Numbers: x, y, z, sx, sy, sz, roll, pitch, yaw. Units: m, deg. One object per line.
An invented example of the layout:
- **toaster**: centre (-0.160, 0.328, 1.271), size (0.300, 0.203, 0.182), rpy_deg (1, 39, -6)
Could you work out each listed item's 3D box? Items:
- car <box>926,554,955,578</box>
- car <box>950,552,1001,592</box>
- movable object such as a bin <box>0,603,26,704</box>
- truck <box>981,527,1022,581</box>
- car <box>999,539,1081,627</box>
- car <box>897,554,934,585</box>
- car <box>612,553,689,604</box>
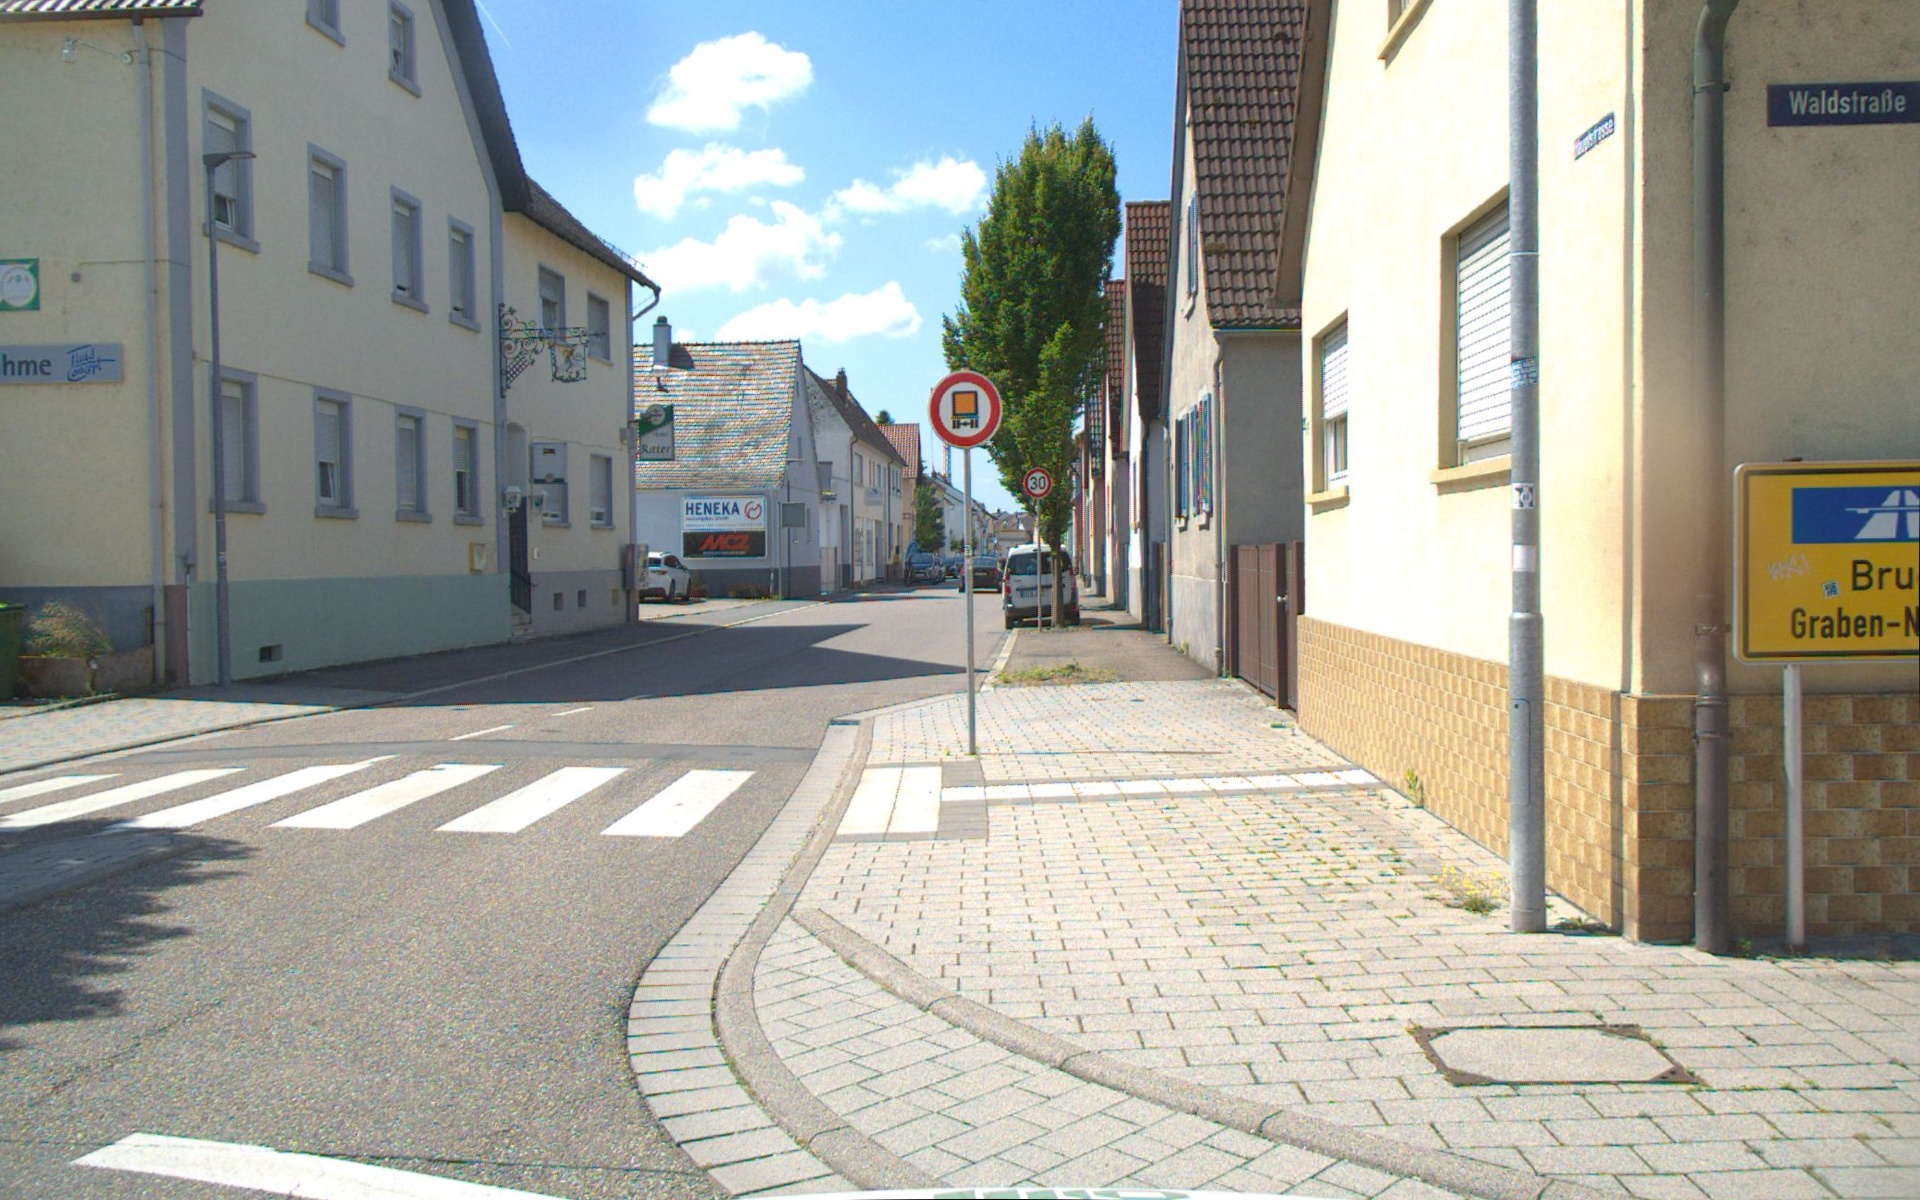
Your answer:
- **car**: centre (-1.311, -2.364, 113.907), size (1.771, 1.616, 4.002), rpy_deg (0, 2, 2)
- **car**: centre (0.669, -1.211, 69.284), size (1.862, 1.591, 4.479), rpy_deg (0, 2, 4)
- **movable object such as a bin**: centre (-10.822, 0.598, 18.267), size (0.587, 1.097, 0.659), rpy_deg (-1, 1, 5)
- **truck**: centre (3.587, -3.883, 140.611), size (3.079, 4.324, 9.308), rpy_deg (1, 1, 4)
- **car**: centre (1.778, -0.426, 37.763), size (1.684, 1.821, 4.145), rpy_deg (-2, 2, 1)
- **car**: centre (-2.390, -1.664, 89.268), size (1.771, 1.616, 4.002), rpy_deg (0, 2, 2)
- **car**: centre (-10.214, -0.750, 54.908), size (1.684, 1.583, 4.200), rpy_deg (1, 2, 1)
